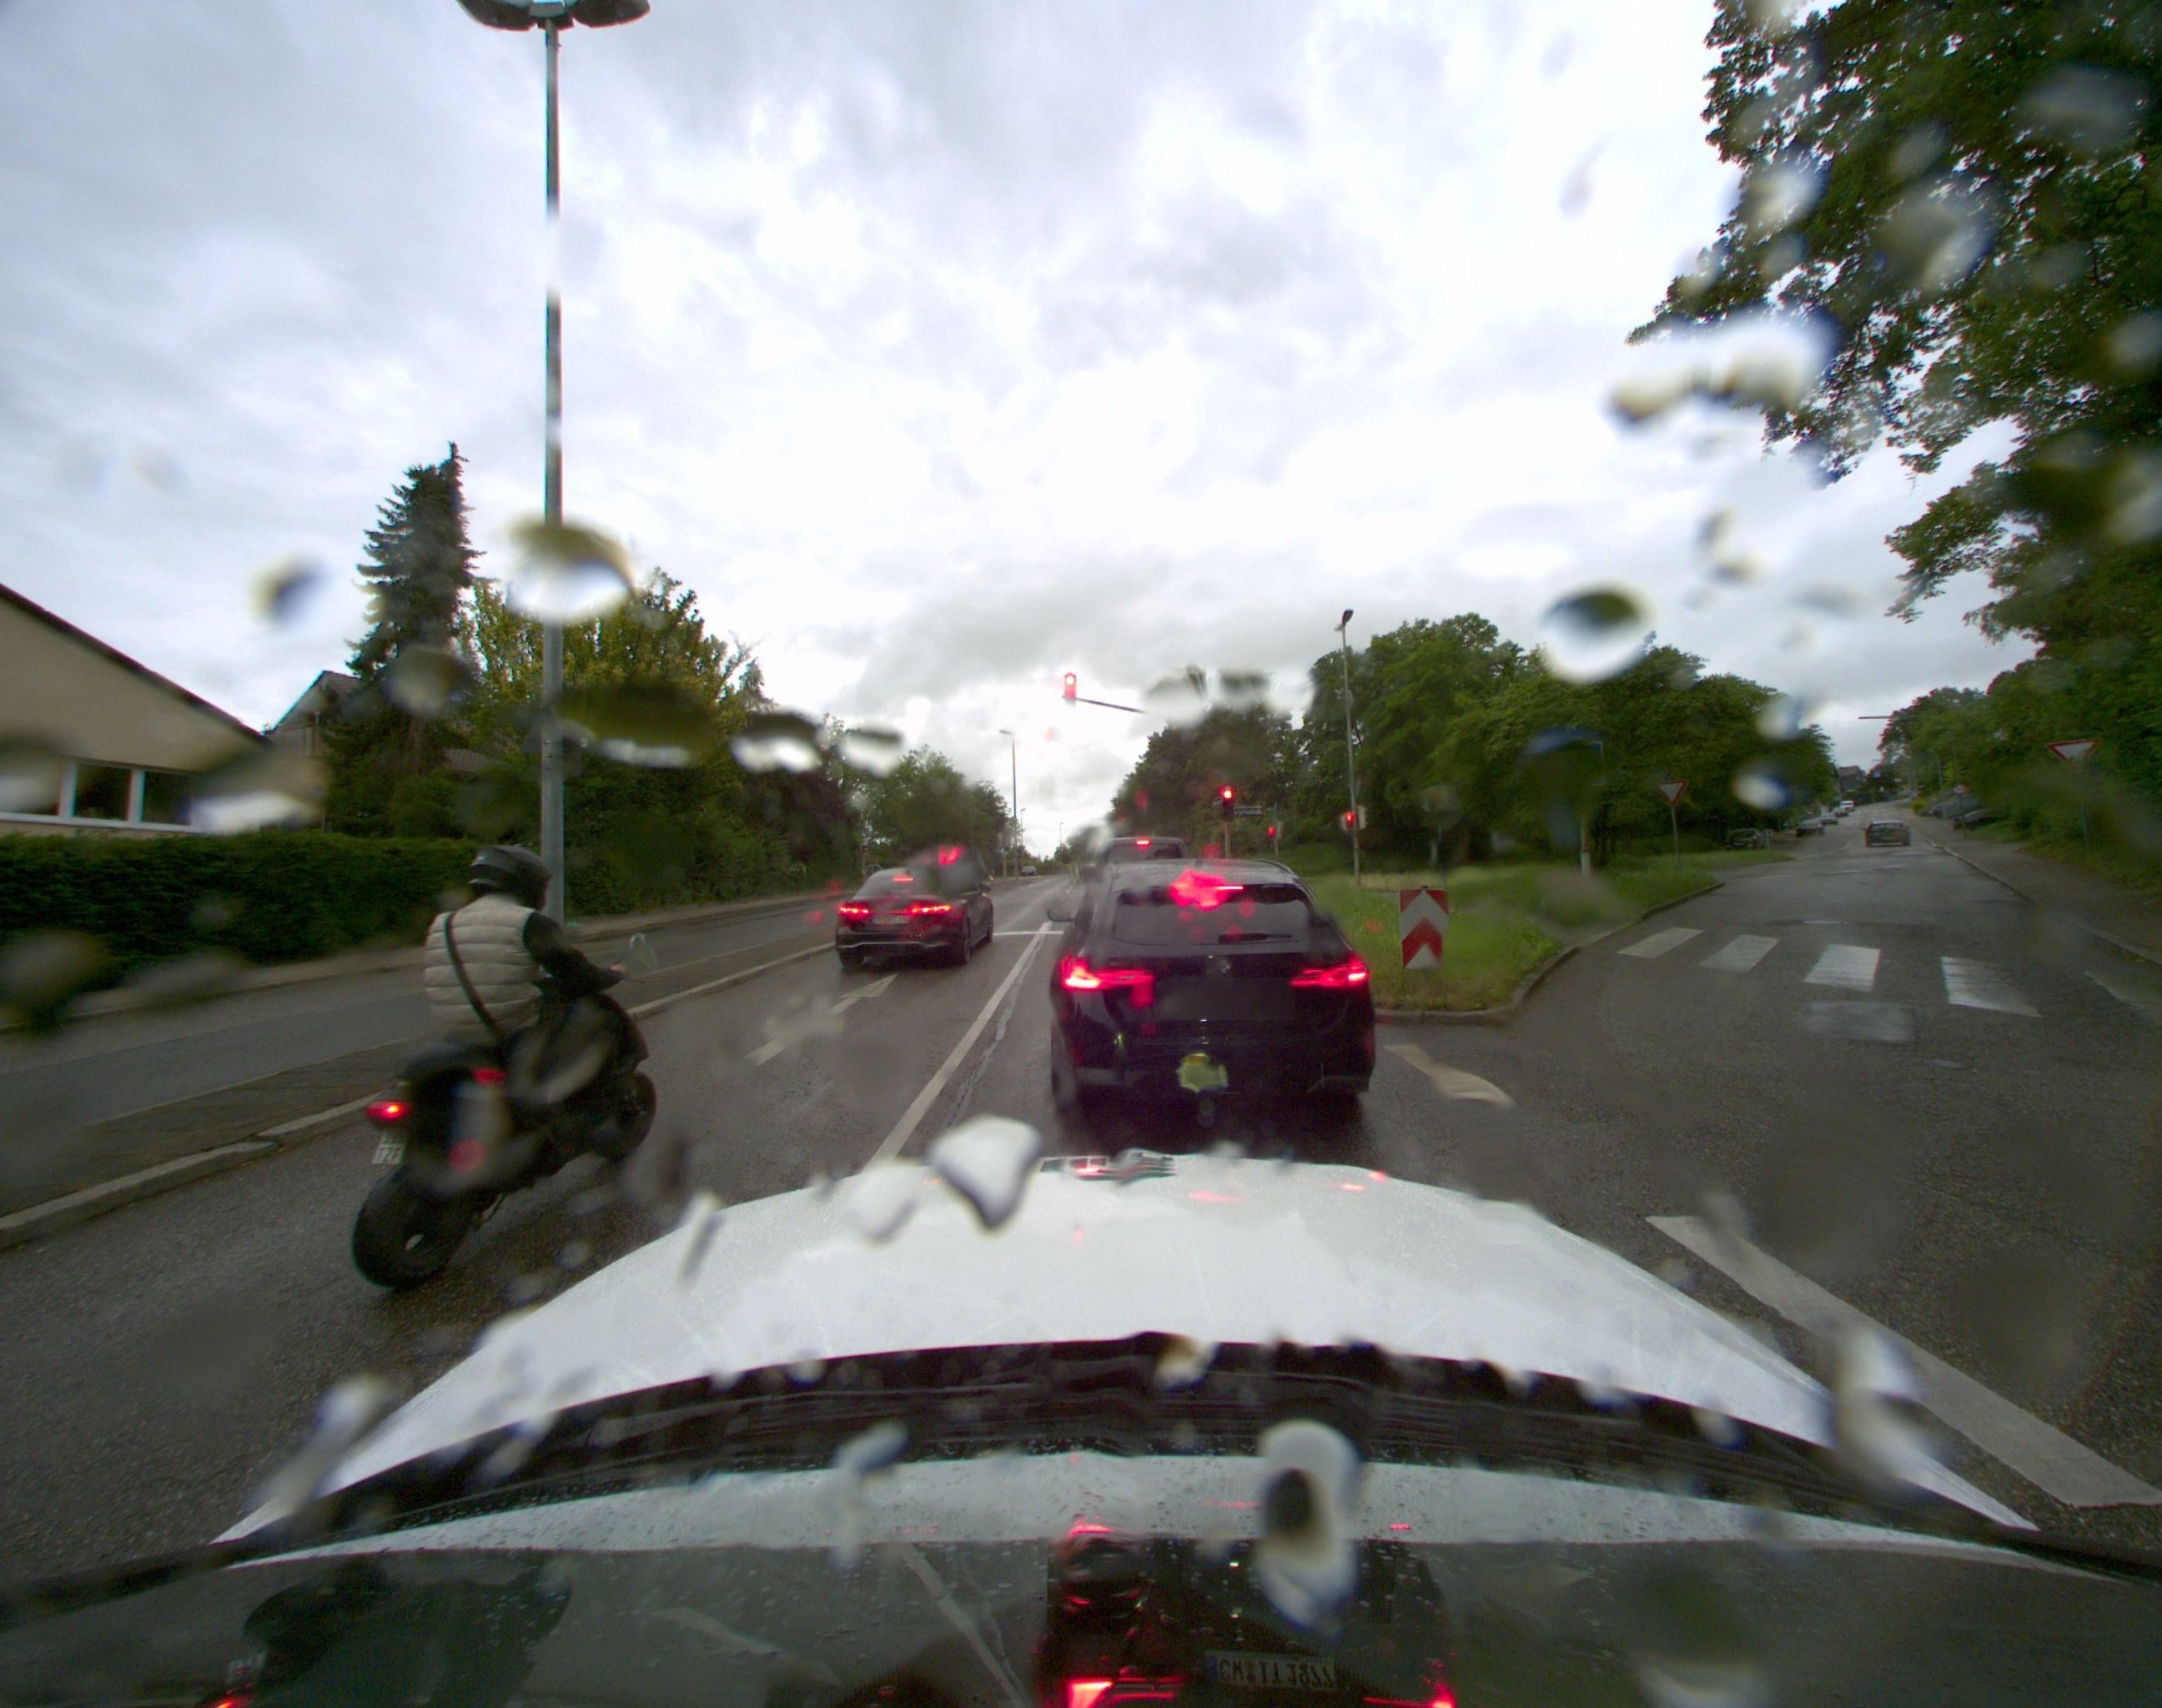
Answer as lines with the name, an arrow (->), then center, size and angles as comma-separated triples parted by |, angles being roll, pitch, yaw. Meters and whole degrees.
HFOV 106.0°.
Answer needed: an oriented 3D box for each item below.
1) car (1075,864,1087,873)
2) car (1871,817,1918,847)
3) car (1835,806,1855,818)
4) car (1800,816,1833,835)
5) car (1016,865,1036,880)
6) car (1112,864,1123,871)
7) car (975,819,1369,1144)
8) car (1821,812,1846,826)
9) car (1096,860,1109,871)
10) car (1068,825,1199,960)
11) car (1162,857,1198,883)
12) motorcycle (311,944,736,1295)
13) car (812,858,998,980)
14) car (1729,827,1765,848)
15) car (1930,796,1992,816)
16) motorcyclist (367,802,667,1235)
car -> 0.005, 3.047, 169.916 | 1.982, 1.611, 3.680 | -4, -1, 9
car -> 46.821, -1.271, 46.858 | 4.187, 1.442, 1.795 | -4, 1, -44
car -> 114.506, -6.271, 122.023 | 1.880, 1.397, 4.193 | -2, -1, 40
car -> 66.277, -2.552, 73.374 | 4.318, 1.450, 1.881 | 0, -1, -44
car -> -7.443, 2.494, 110.863 | 1.984, 1.826, 4.006 | -4, -1, 6
car -> 9.158, 3.372, 204.889 | 2.094, 1.765, 4.879 | -4, -1, 9
car -> 0.640, 0.668, 6.278 | 1.889, 1.551, 4.621 | -1, -1, 5
car -> 88.211, -4.091, 95.501 | 1.971, 1.446, 4.321 | -2, -1, 40
car -> 2.933, 1.615, 111.710 | 1.691, 1.427, 3.515 | -4, -1, 2
car -> 0.825, 0.566, 13.447 | 1.811, 1.868, 3.954 | -1, -1, 2
car -> 6.331, 1.019, 52.403 | 1.866, 1.543, 3.954 | -4, -1, 2
motorcycle -> -2.339, 1.030, 3.743 | 0.688, 1.053, 1.748 | -3, -2, 2
car -> -2.596, 0.901, 13.151 | 1.987, 1.527, 4.326 | -4, -1, 0
car -> 46.022, -1.153, 56.259 | 1.655, 1.370, 3.512 | -3, 0, 43
car -> 87.617, -4.736, 81.145 | 3.949, 1.574, 1.785 | -5, -1, 42
motorcyclist -> -2.369, 0.640, 3.503 | 0.762, 1.642, 0.674 | -3, -1, 1
